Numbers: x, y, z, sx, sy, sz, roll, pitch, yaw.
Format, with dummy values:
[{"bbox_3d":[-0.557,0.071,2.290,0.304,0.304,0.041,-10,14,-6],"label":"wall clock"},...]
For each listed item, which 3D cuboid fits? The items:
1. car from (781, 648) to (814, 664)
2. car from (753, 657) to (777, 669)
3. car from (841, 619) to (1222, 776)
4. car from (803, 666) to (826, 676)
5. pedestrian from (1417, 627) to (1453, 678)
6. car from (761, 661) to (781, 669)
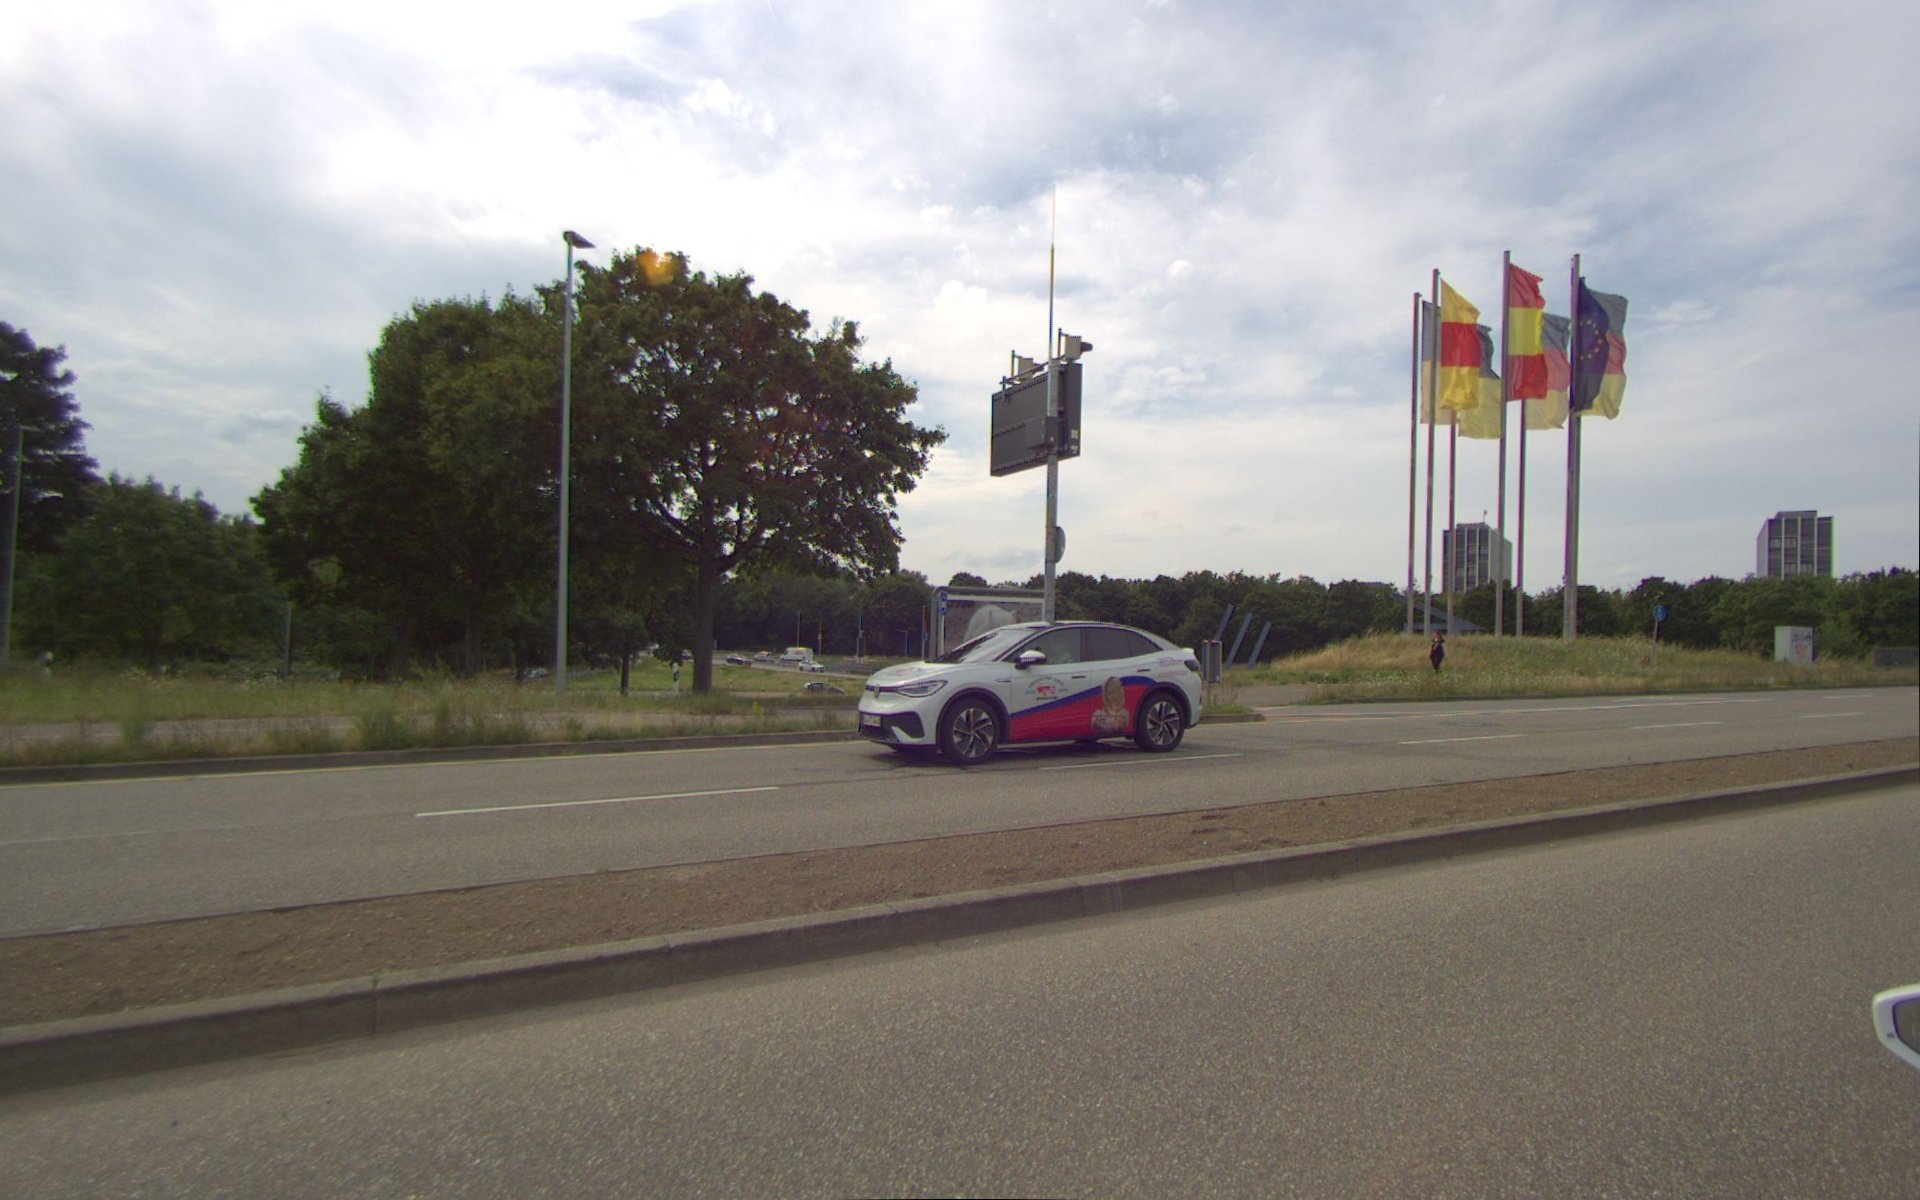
[{"bbox_3d":[-26.010,9.020,161.038,5.765,2.410,1.981,-1,-2,40],"label":"car"},{"bbox_3d":[-31.258,10.040,160.780,3.941,1.773,1.795,-2,-3,41],"label":"car"},{"bbox_3d":[0.950,1.070,12.519,4.507,1.622,1.839,0,-1,-30],"label":"car"},{"bbox_3d":[-20.119,9.726,138.442,3.305,1.236,1.255,-1,-2,40],"label":"car"},{"bbox_3d":[16.113,1.777,34.069,0.671,1.715,0.861,1,-2,-30],"label":"pedestrian"},{"bbox_3d":[-28.553,9.819,151.818,3.305,1.236,1.255,-1,-2,40],"label":"car"}]
